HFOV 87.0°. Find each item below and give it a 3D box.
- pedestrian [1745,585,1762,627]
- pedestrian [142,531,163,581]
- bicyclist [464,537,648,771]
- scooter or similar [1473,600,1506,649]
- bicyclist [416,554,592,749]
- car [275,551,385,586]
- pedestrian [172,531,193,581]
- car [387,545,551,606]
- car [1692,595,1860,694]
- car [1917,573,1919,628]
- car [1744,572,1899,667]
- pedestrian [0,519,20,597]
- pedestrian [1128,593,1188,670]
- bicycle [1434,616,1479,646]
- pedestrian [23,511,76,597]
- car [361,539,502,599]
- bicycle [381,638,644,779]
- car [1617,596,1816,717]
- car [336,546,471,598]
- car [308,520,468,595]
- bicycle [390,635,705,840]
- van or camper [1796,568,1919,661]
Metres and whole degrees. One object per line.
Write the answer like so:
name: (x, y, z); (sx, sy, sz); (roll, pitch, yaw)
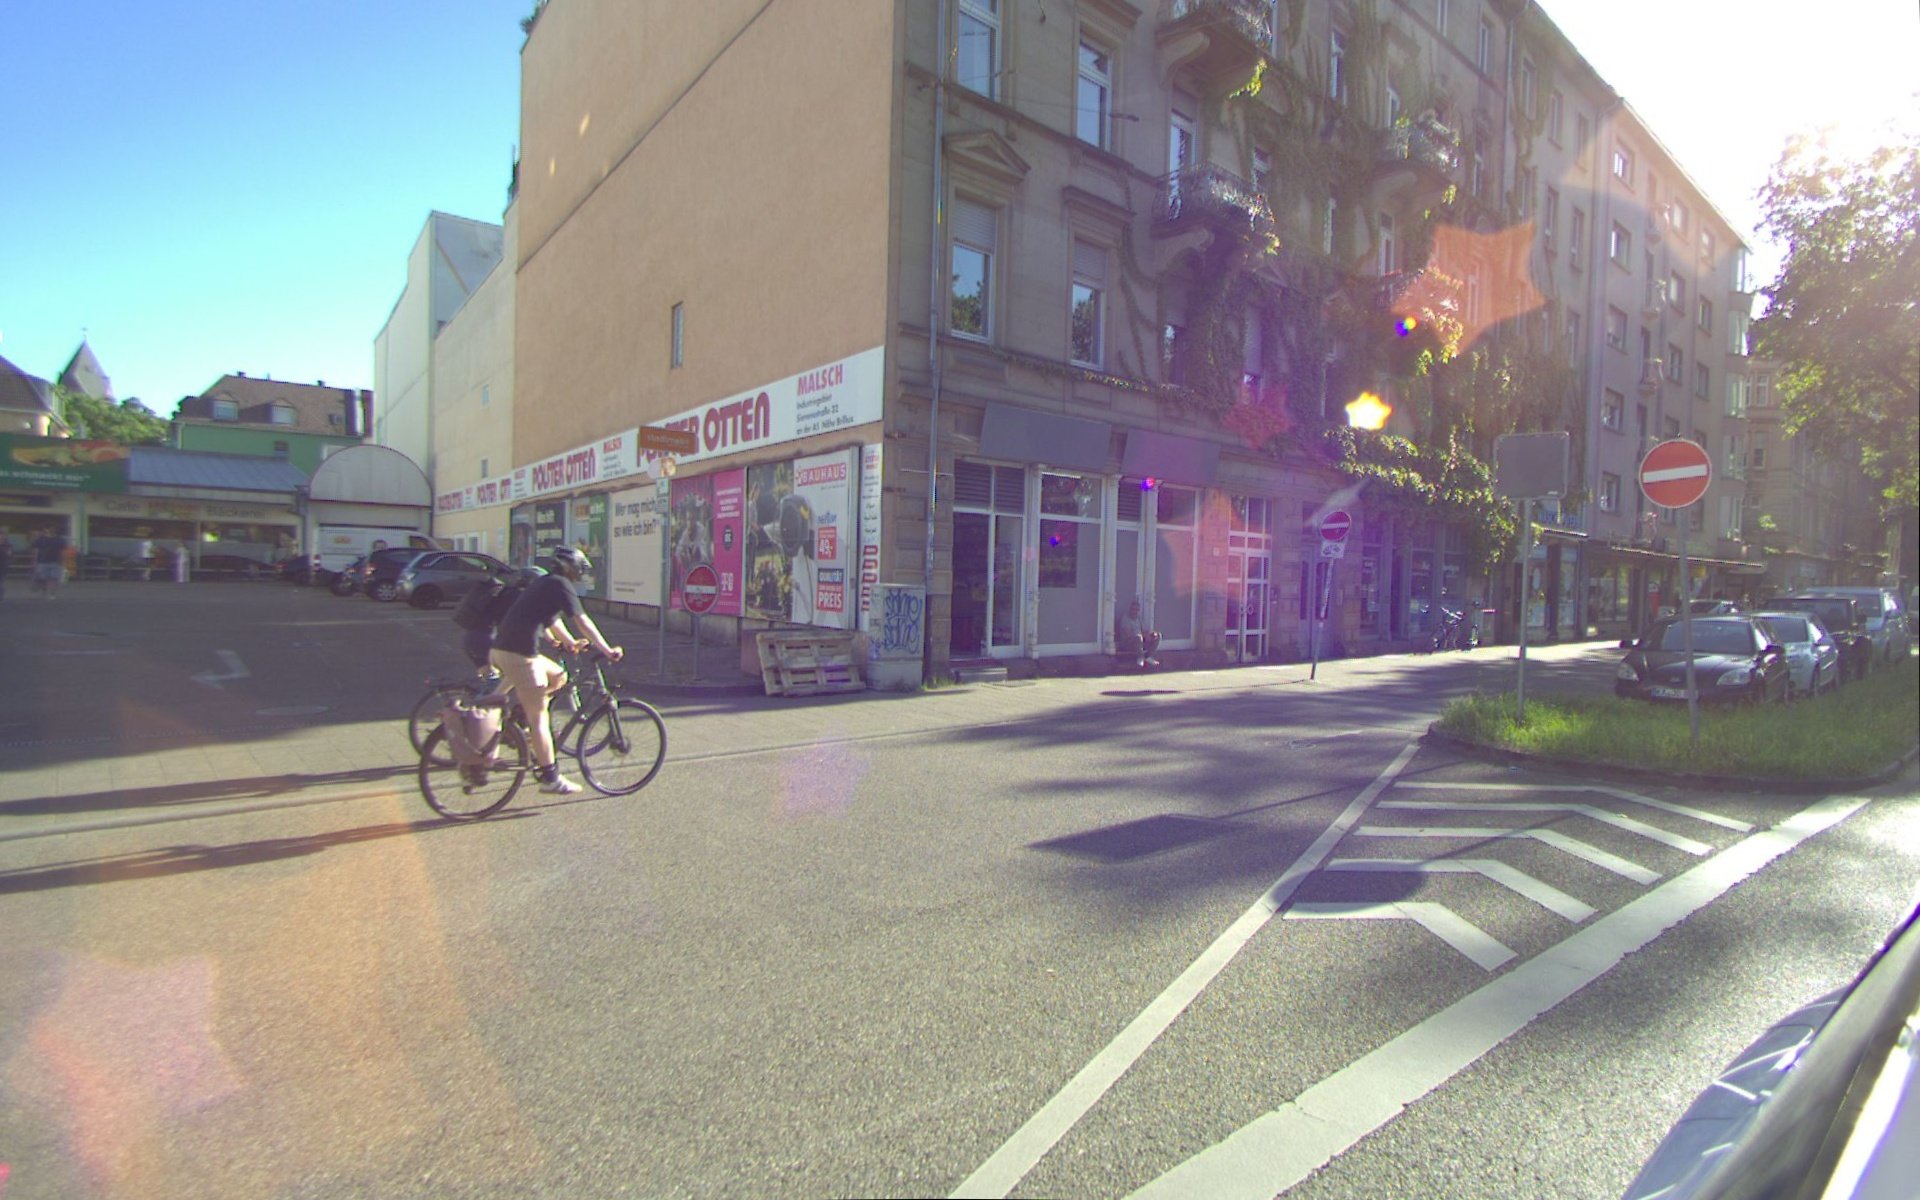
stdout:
pedestrian: (35.298, 0.254, 45.038); (0.507, 1.856, 0.469); (1, 1, -41)
pedestrian: (-33.085, -1.794, 41.478); (0.635, 2.039, 0.562); (1, 1, -41)
bicyclist: (-2.777, 0.339, 7.001); (0.742, 1.480, 0.940); (0, 0, 34)
scooter or similar: (13.754, 0.607, 26.322); (0.631, 1.188, 1.720); (2, 1, 24)
bicyclist: (-3.788, 0.388, 8.425); (1.161, 1.463, 0.678); (0, 5, -41)
car: (-26.977, -1.354, 43.397); (3.922, 1.371, 1.760); (1, 2, -34)
pedestrian: (-32.253, -1.805, 41.982); (0.636, 2.039, 0.562); (1, 1, -42)
car: (-12.794, -0.649, 26.444); (3.580, 1.481, 1.680); (-1, 2, -39)
car: (14.371, 0.703, 17.744); (3.932, 1.537, 1.740); (0, -1, -43)
car: (46.142, 0.048, 46.839); (5.753, 2.465, 2.078); (0, 1, -41)
car: (18.138, 0.359, 21.251); (3.930, 1.786, 1.868); (0, 2, -41)
pedestrian: (-22.720, -0.988, 23.751); (0.907, 1.818, 0.818); (1, 1, -41)
pedestrian: (3.460, 0.538, 17.668); (0.701, 1.276, 0.717); (0, 2, -41)
bicycle: (12.491, 0.772, 25.445); (1.486, 0.714, 0.469); (0, 1, -41)
pedestrian: (-22.071, -1.108, 24.553); (0.907, 2.039, 0.818); (1, 1, -41)
car: (-15.765, -0.937, 30.234); (3.576, 1.690, 1.682); (-1, 2, -35)
bicycle: (-3.707, 0.849, 8.475); (1.884, 0.930, 0.651); (0, 6, -40)
car: (11.136, 0.726, 14.798); (3.932, 1.537, 1.642); (0, -1, -43)
car: (-17.439, -0.896, 31.767); (3.576, 1.552, 1.682); (-1, 2, -35)
car: (-20.155, -1.468, 35.811); (4.785, 2.442, 1.713); (1, 1, -30)
bicycle: (-2.773, 0.852, 7.026); (0.754, 1.116, 1.929); (2, 1, 34)
van or camper: (22.127, 0.304, 24.707); (5.007, 2.038, 1.887); (0, 2, -42)
